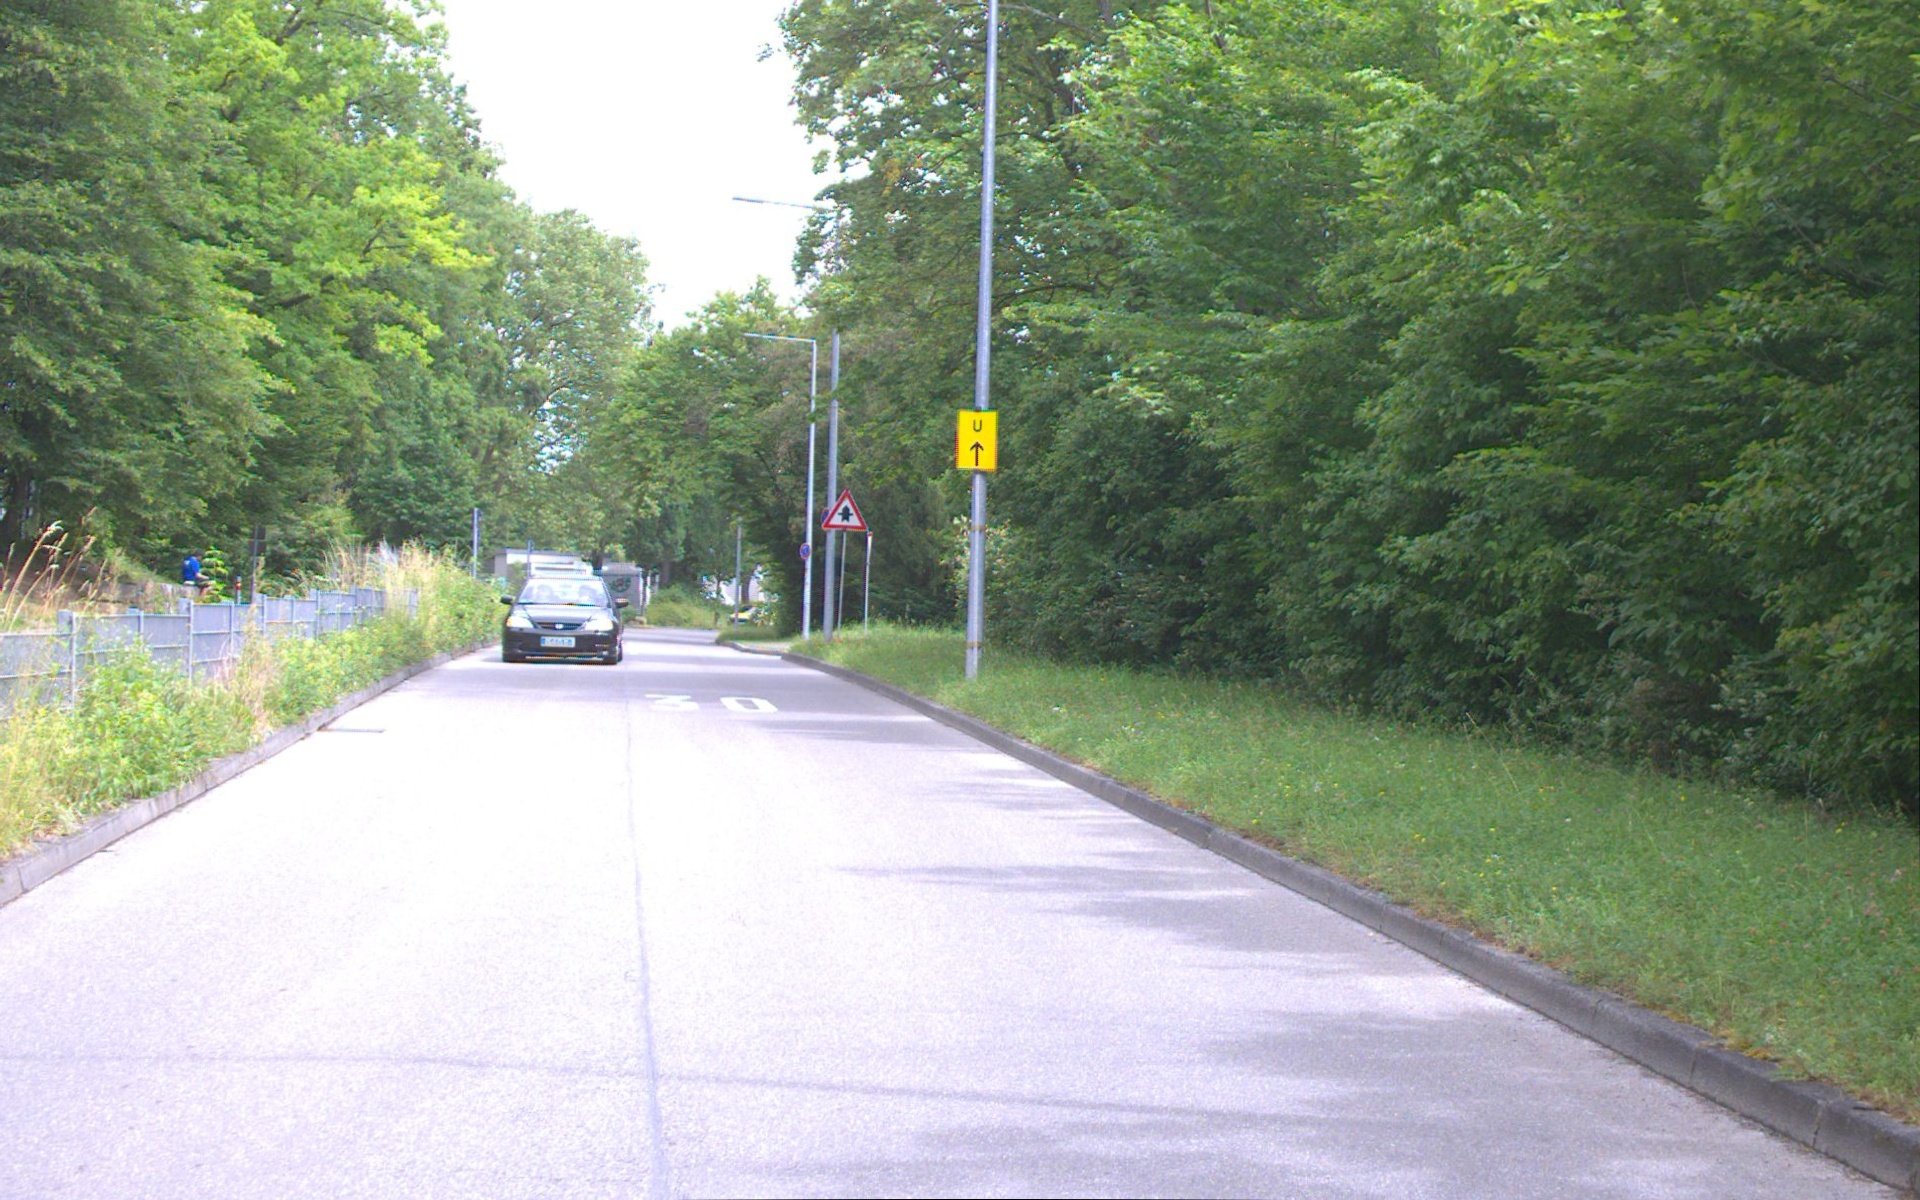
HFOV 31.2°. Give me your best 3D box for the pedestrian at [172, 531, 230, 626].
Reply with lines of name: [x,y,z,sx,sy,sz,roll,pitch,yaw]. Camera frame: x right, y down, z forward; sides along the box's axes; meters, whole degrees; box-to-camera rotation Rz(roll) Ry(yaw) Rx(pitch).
pedestrian: [-16.427,-0.453,74.396,0.877,2.007,0.865,-2,-3,40]

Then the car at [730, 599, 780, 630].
car: [-10.933,0.760,183.403,1.860,1.487,3.998,-1,-2,9]

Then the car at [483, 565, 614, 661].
car: [-6.169,0.169,51.892,1.692,1.344,4.095,1,1,-3]
